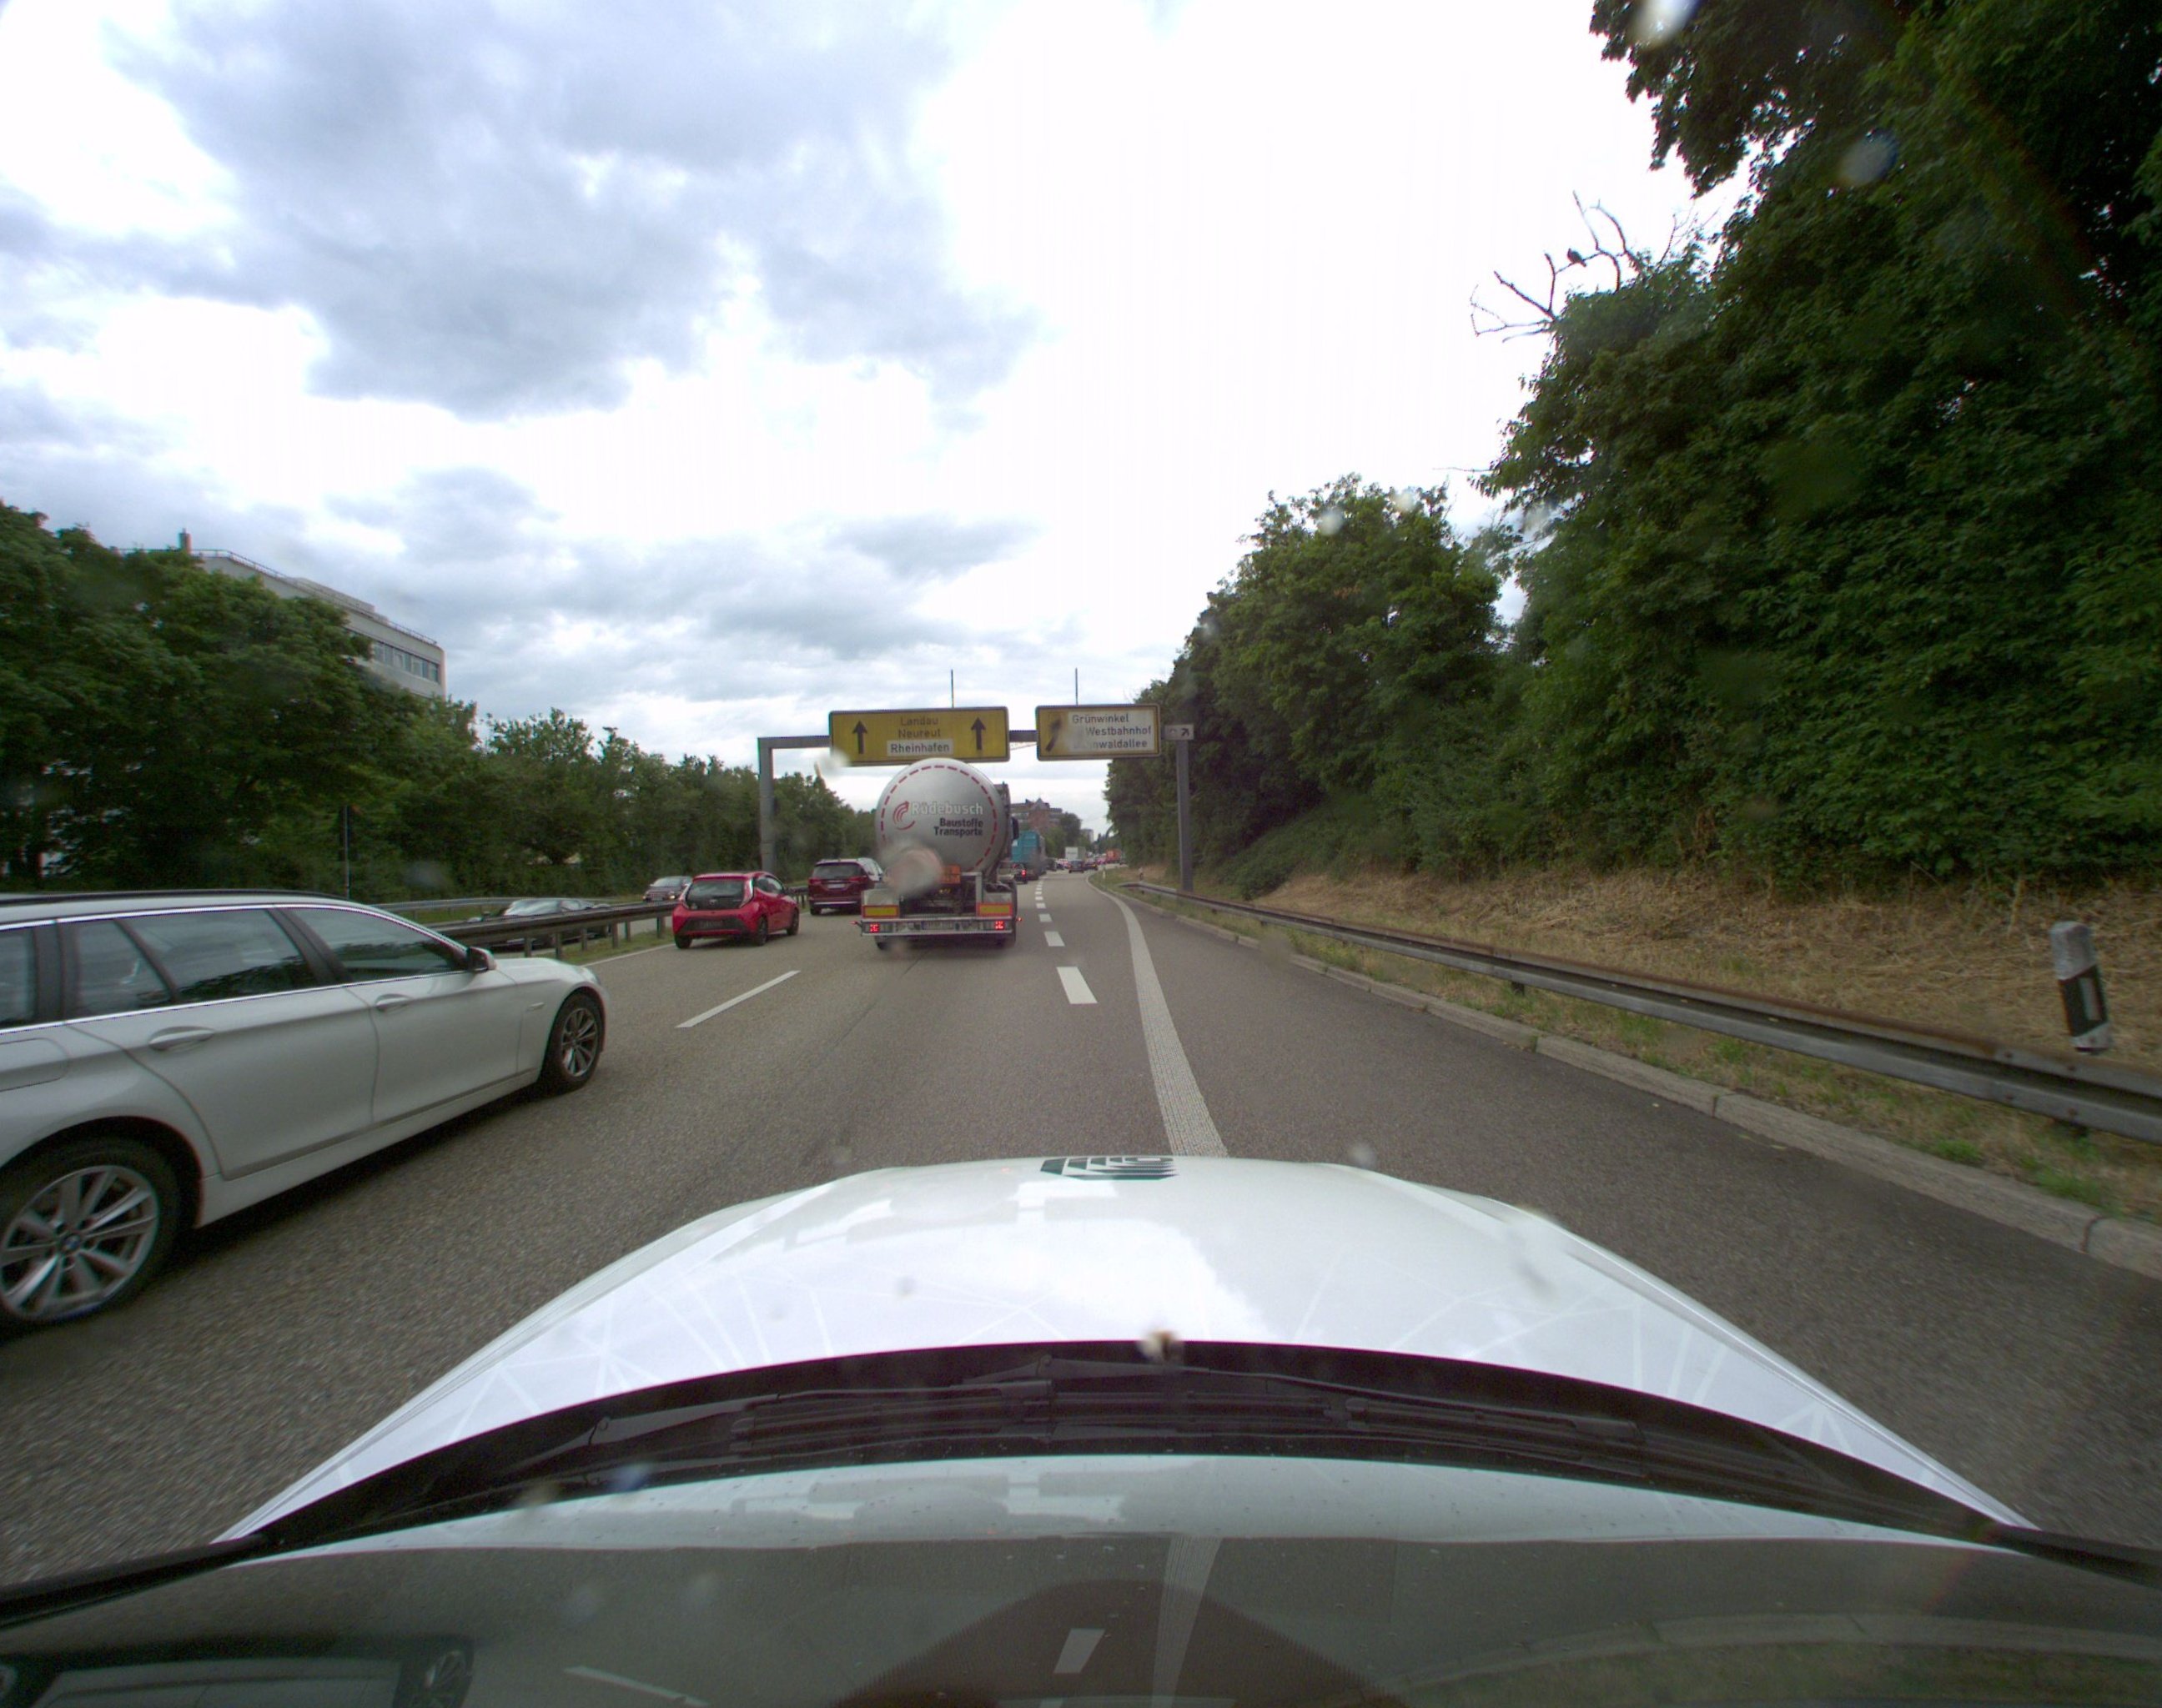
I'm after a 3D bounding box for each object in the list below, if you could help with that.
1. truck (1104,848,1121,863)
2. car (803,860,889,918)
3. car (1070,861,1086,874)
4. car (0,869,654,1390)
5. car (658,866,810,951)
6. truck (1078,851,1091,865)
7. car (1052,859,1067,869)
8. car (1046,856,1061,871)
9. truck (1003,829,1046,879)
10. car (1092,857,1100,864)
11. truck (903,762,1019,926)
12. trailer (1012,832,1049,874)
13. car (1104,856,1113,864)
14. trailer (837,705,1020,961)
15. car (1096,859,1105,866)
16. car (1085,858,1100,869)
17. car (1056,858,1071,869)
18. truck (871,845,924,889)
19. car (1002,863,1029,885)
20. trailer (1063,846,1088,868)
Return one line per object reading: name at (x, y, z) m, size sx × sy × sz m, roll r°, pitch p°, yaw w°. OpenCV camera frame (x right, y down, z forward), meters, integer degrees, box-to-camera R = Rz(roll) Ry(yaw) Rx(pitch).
truck at (9.150, 0.490, 233.182) m, size 3.470 × 4.073 × 13.621 m, roll -2°, pitch 0°, yaw 8°
car at (-7.503, 1.072, 26.340) m, size 1.872 × 1.707 × 3.993 m, roll -1°, pitch -1°, yaw -5°
car at (-0.344, 1.577, 98.644) m, size 1.818 × 1.482 × 4.001 m, roll -2°, pitch 0°, yaw 2°
car at (-4.280, 0.870, 3.797) m, size 2.054 × 1.464 × 5.250 m, roll -2°, pitch 0°, yaw -4°
car at (-7.045, 1.030, 16.987) m, size 1.624 × 1.524 × 4.084 m, roll -1°, pitch -1°, yaw -3°
truck at (1.131, 1.190, 241.912) m, size 2.725 × 4.139 × 10.713 m, roll -1°, pitch -1°, yaw 6°
car at (-3.268, 1.484, 123.670) m, size 1.840 × 1.460 × 4.833 m, roll -2°, pitch 0°, yaw 2°
car at (-3.821, 1.302, 112.343) m, size 1.983 × 1.898 × 4.979 m, roll -2°, pitch 0°, yaw -3°
truck at (-4.654, 0.031, 68.803) m, size 2.921 × 3.796 × 11.323 m, roll -2°, pitch 0°, yaw -1°
car at (4.176, 1.755, 229.349) m, size 1.808 × 2.013 × 4.008 m, roll -2°, pitch 0°, yaw 7°
truck at (-3.184, -0.227, 23.398) m, size 2.678 × 3.907 × 6.924 m, roll -2°, pitch 0°, yaw -5°
trailer at (-5.112, -0.024, 85.009) m, size 2.617 × 4.023 × 13.466 m, roll -1°, pitch -1°, yaw 1°
car at (7.496, 1.585, 221.894) m, size 1.983 × 2.013 × 4.008 m, roll -2°, pitch 0°, yaw 7°
trailer at (-2.782, -0.307, 18.159) m, size 2.678 × 3.907 × 10.969 m, roll -2°, pitch 0°, yaw -4°
car at (4.942, 2.018, 202.409) m, size 1.707 × 1.684 × 4.009 m, roll -1°, pitch -1°, yaw 8°
car at (1.631, 1.352, 115.282) m, size 1.817 × 1.483 × 4.004 m, roll -2°, pitch 0°, yaw 3°
car at (-2.917, 1.518, 136.728) m, size 1.947 × 1.695 × 4.873 m, roll -2°, pitch 0°, yaw 5°
truck at (-8.879, 0.612, 39.650) m, size 1.990 × 2.014 × 3.992 m, roll -1°, pitch -1°, yaw -5°
car at (-4.570, 1.357, 56.991) m, size 1.744 × 1.422 × 3.659 m, roll -2°, pitch 0°, yaw -3°
trailer at (-0.959, 0.629, 159.825) m, size 3.282 × 4.036 × 13.120 m, roll -1°, pitch -1°, yaw 6°
